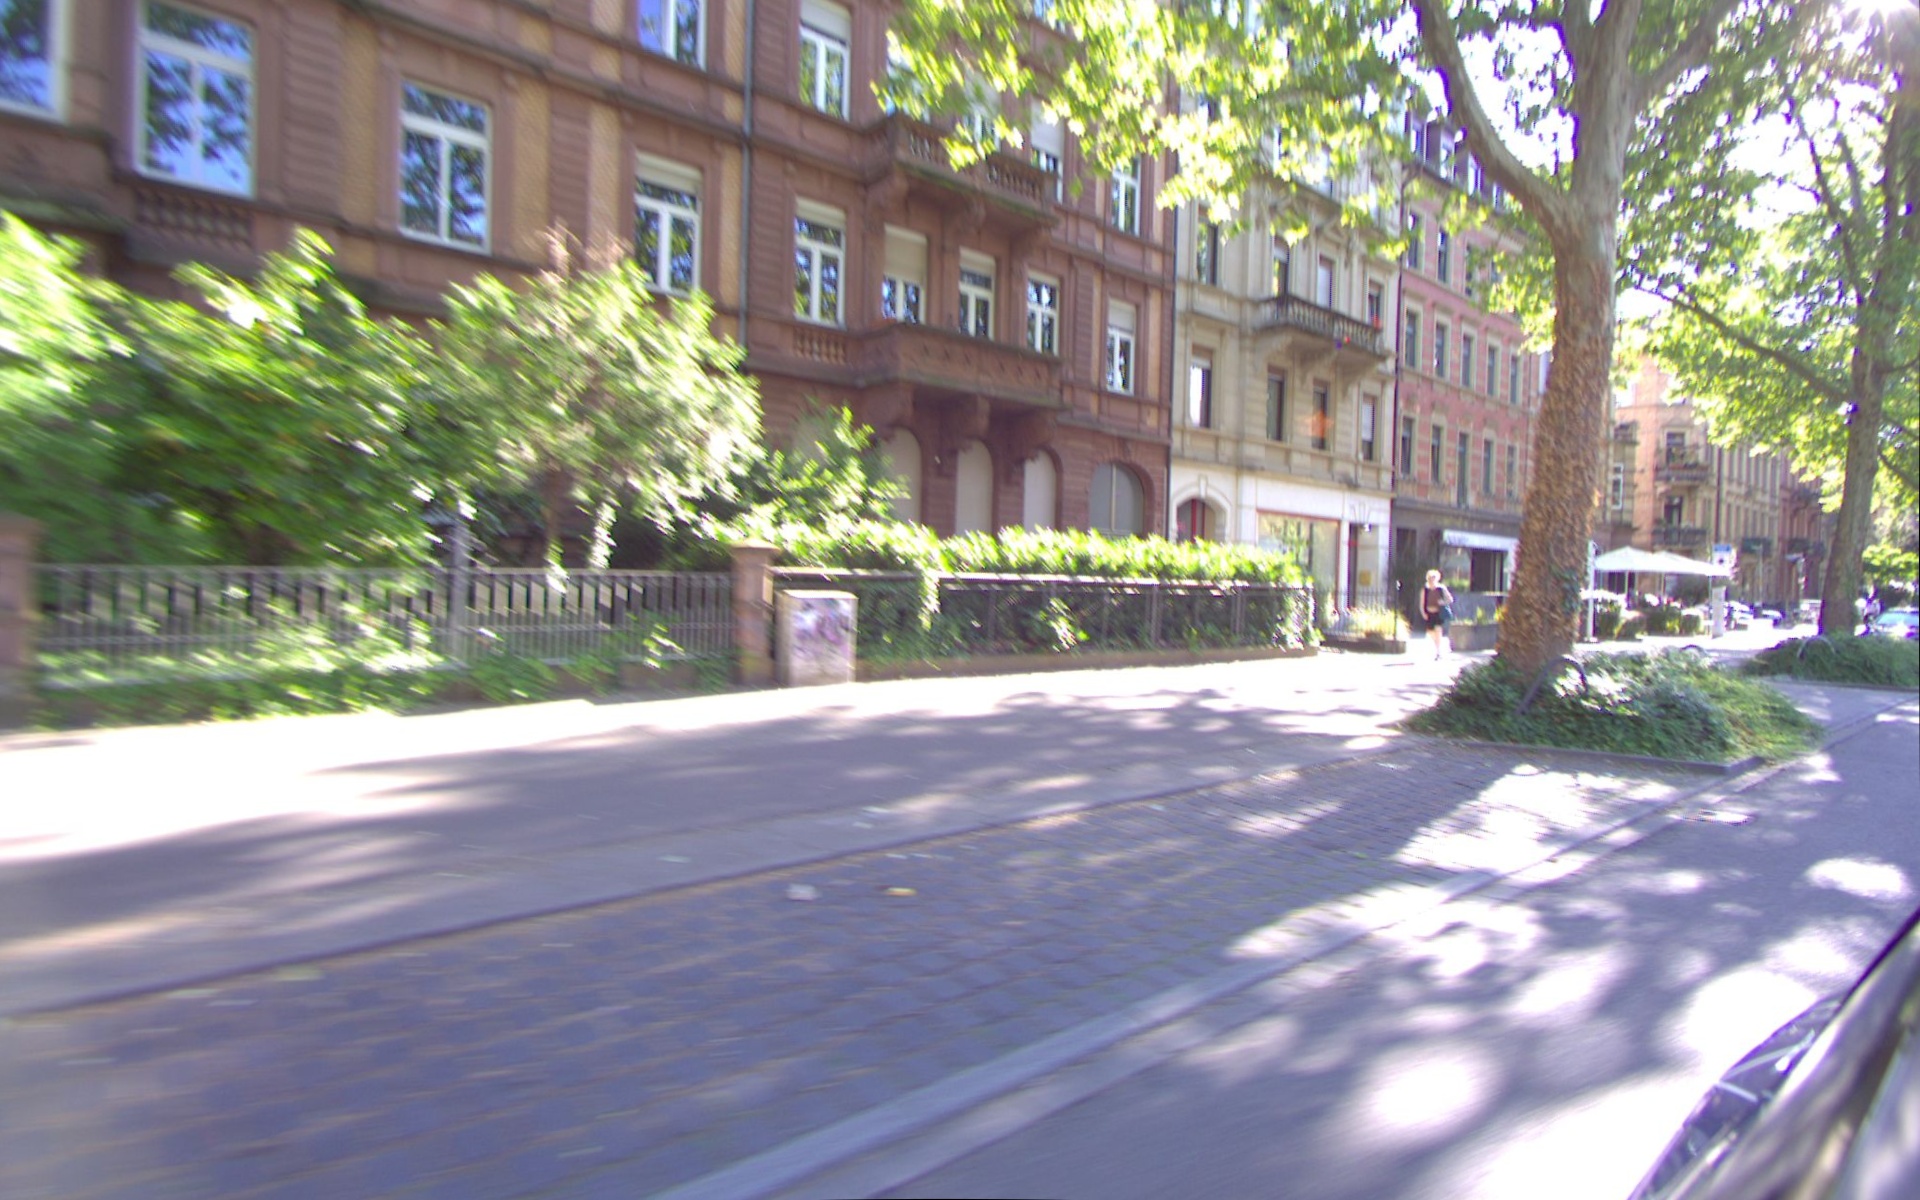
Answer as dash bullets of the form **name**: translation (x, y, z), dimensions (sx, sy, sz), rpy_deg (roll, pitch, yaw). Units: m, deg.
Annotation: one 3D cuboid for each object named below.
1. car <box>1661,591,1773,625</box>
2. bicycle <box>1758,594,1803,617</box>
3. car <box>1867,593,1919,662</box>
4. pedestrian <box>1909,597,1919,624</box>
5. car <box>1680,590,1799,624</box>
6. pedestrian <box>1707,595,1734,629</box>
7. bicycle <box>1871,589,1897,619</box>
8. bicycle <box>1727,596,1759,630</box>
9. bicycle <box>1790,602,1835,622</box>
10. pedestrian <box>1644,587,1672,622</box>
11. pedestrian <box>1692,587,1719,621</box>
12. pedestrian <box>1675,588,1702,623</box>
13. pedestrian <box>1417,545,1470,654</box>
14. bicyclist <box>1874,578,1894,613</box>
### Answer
- **car**: translation (35.875, 0.374, 48.031), dimensions (1.713, 1.382, 3.992), rpy_deg (2, 1, -43)
- **bicycle**: translation (45.285, 0.305, 55.884), dimensions (0.467, 1.168, 1.868), rpy_deg (1, 1, -36)
- **car**: translation (23.701, 0.639, 24.597), dimensions (4.718, 1.556, 1.736), rpy_deg (0, 1, -39)
- **pedestrian**: translation (59.742, 0.690, 63.195), dimensions (0.606, 1.648, 0.531), rpy_deg (2, 2, -40)
- **car**: translation (39.628, 0.314, 51.535), dimensions (1.891, 1.567, 4.604), rpy_deg (0, 1, -45)
- **pedestrian**: translation (30.313, 0.478, 40.320), dimensions (0.651, 1.316, 0.714), rpy_deg (1, 1, -41)
- **bicycle**: translation (37.630, 0.167, 41.218), dimensions (2.187, 1.193, 0.561), rpy_deg (1, -2, -42)
- **bicycle**: translation (27.845, 0.443, 35.968), dimensions (1.863, 1.157, 0.476), rpy_deg (0, 3, -41)
- **bicycle**: translation (42.588, 0.603, 50.575), dimensions (1.688, 0.928, 0.594), rpy_deg (2, 1, 39)
- **pedestrian**: translation (27.058, 0.169, 39.242), dimensions (0.651, 1.316, 0.714), rpy_deg (1, 1, -39)
- **pedestrian**: translation (29.304, 0.161, 39.782), dimensions (0.651, 1.316, 0.714), rpy_deg (1, 1, -41)
- **pedestrian**: translation (28.396, 0.209, 39.440), dimensions (0.651, 1.316, 0.714), rpy_deg (1, 1, -40)
- **pedestrian**: translation (9.204, -0.024, 19.271), dimensions (0.622, 2.038, 0.674), rpy_deg (1, 1, -41)
- **bicyclist**: translation (37.641, -0.186, 41.233), dimensions (0.633, 1.398, 0.543), rpy_deg (2, -2, -42)
